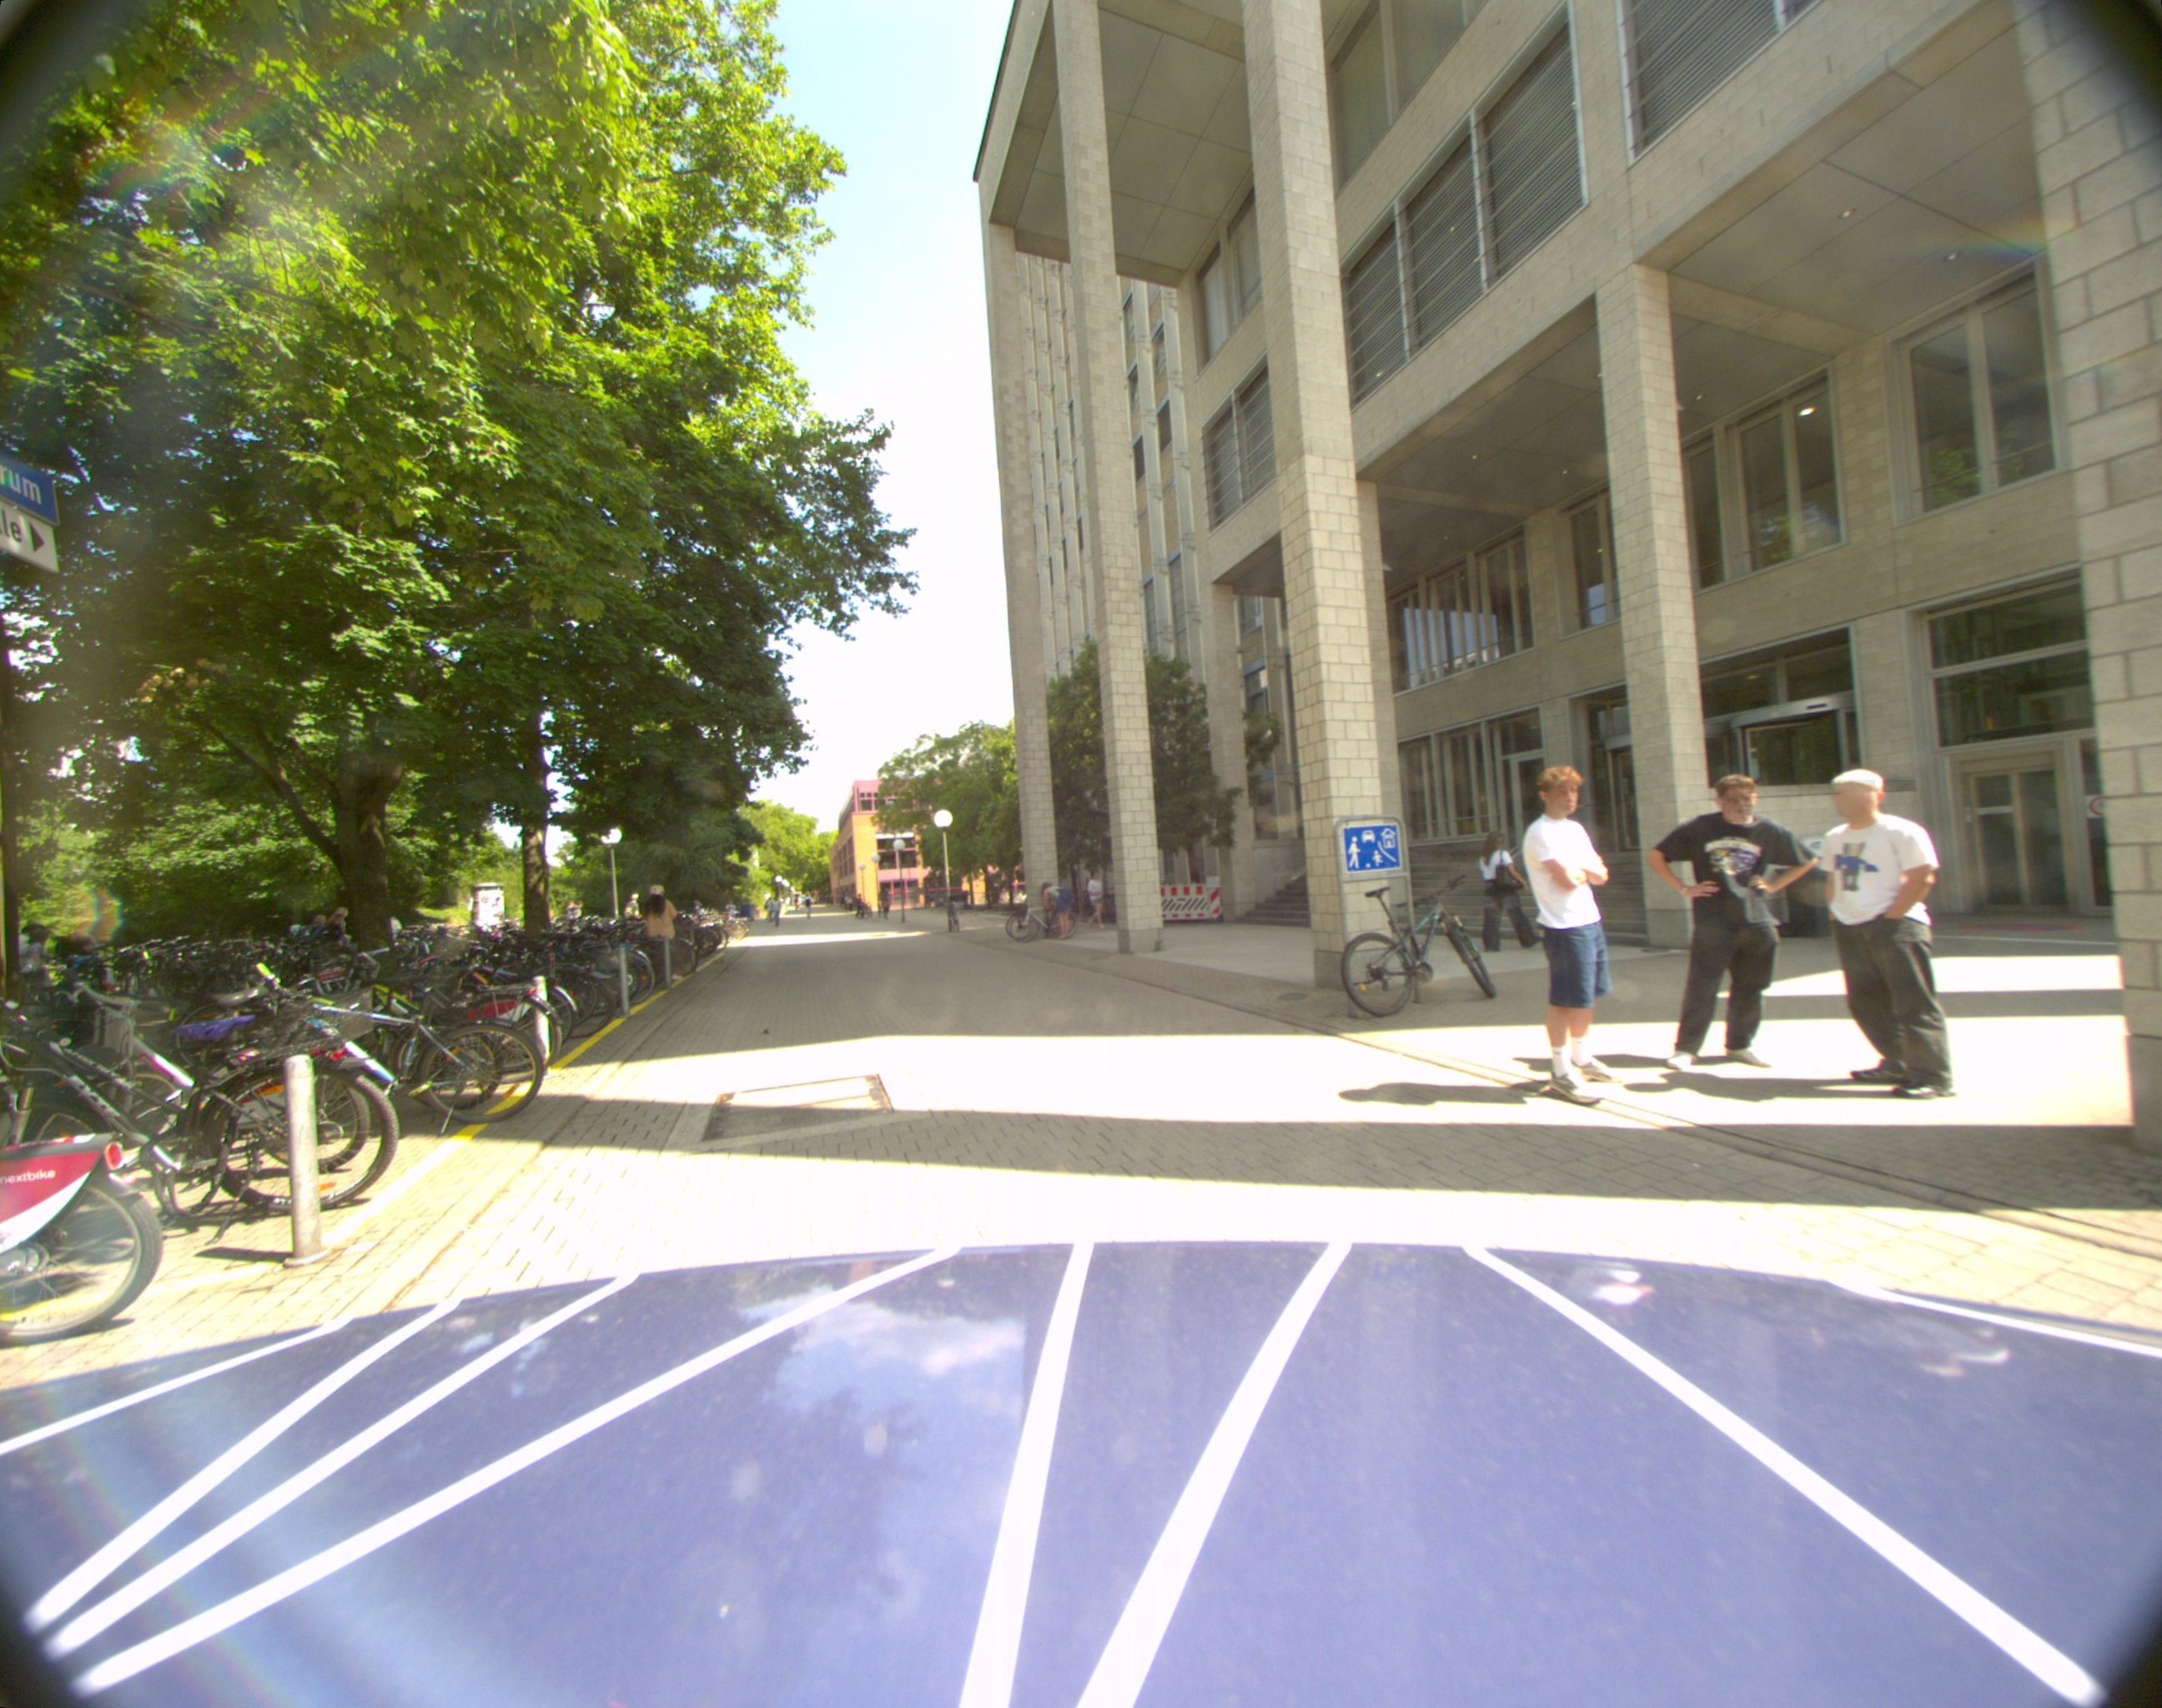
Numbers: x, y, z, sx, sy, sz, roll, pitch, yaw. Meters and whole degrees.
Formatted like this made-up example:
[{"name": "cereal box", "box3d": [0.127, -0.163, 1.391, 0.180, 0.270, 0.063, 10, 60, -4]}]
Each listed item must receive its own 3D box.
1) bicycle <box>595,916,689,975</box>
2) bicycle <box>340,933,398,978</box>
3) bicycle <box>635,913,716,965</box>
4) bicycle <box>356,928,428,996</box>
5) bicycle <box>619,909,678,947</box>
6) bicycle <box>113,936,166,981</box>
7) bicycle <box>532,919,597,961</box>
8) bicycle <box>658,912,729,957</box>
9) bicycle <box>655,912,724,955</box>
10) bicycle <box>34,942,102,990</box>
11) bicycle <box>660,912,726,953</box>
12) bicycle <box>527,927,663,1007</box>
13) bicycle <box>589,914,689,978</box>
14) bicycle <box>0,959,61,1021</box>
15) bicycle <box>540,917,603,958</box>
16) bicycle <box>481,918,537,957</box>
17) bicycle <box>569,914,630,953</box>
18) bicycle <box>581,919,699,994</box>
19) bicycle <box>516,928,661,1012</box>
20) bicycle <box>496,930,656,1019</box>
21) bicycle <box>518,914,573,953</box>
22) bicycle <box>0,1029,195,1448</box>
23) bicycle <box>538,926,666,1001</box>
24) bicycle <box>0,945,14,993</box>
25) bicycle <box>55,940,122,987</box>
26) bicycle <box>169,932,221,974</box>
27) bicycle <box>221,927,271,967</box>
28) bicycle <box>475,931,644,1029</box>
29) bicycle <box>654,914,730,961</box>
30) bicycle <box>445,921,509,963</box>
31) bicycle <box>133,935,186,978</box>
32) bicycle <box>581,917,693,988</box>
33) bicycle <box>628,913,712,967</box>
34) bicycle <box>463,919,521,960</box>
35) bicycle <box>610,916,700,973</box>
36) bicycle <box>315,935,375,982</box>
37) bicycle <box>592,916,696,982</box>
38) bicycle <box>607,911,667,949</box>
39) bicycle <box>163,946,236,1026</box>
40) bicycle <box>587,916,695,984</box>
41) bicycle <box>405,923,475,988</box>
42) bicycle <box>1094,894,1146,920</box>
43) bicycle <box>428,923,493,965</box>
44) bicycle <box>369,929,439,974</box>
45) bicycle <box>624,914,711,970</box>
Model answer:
[{"name": "bicycle", "box3d": [-9.417, 1.949, 16.368, 1.690, 1.122, 0.454, -2, -4, -25]}, {"name": "bicycle", "box3d": [-18.475, 2.640, 19.710, 1.685, 1.076, 0.480, -6, -4, 24]}, {"name": "bicycle", "box3d": [-9.886, 2.052, 18.576, 1.690, 1.122, 0.478, -2, -4, -25]}, {"name": "bicycle", "box3d": [-12.727, 1.970, 14.020, 1.841, 1.163, 0.414, -4, -1, 31]}, {"name": "bicycle", "box3d": [-13.789, 2.361, 24.228, 1.686, 1.076, 0.479, -5, -3, 11]}, {"name": "bicycle", "box3d": [-24.592, 2.735, 19.848, 1.608, 1.087, 0.348, -4, 0, 21]}, {"name": "bicycle", "box3d": [-14.819, 2.451, 21.797, 1.686, 1.076, 0.479, -5, -3, 11]}, {"name": "bicycle", "box3d": [-10.694, 2.210, 20.991, 1.691, 1.076, 0.478, -1, -4, -34]}, {"name": "bicycle", "box3d": [-11.158, 2.260, 21.681, 1.690, 1.076, 0.478, -2, -4, -25]}, {"name": "bicycle", "box3d": [-25.110, 2.776, 18.829, 1.608, 1.087, 0.348, -4, 0, 13]}, {"name": "bicycle", "box3d": [-11.514, 2.314, 22.569, 1.690, 1.076, 0.478, -2, -4, -25]}, {"name": "bicycle", "box3d": [-7.500, 1.719, 11.814, 1.690, 1.040, 0.617, -2, -4, -25]}, {"name": "bicycle", "box3d": [-8.908, 1.844, 15.371, 1.690, 1.122, 0.454, -2, -4, -25]}, {"name": "bicycle", "box3d": [-18.619, 2.354, 13.231, 1.900, 0.973, 0.479, -4, 0, 21]}, {"name": "bicycle", "box3d": [-14.965, 2.446, 22.323, 1.686, 1.076, 0.479, -5, -3, 11]}, {"name": "bicycle", "box3d": [-17.319, 2.523, 23.004, 1.685, 1.076, 0.479, -5, -4, 18]}, {"name": "bicycle", "box3d": [-14.644, 2.417, 23.109, 1.686, 1.076, 0.479, -5, -3, 11]}, {"name": "bicycle", "box3d": [-7.537, 1.736, 13.060, 1.690, 1.122, 0.454, -2, -4, -25]}, {"name": "bicycle", "box3d": [-7.181, 1.669, 11.169, 1.690, 1.040, 0.617, -2, -4, -25]}, {"name": "bicycle", "box3d": [-6.919, 1.633, 10.481, 1.697, 1.040, 0.617, -3, -3, -12]}, {"name": "bicycle", "box3d": [-16.708, 2.485, 23.710, 1.685, 1.076, 0.479, -5, -4, 18]}, {"name": "bicycle", "box3d": [-3.940, 1.260, 2.292, 1.491, 1.135, 0.560, -4, 1, -23]}, {"name": "bicycle", "box3d": [-7.737, 1.752, 12.344, 1.690, 1.040, 0.500, -2, -4, -25]}, {"name": "bicycle", "box3d": [-25.883, 2.733, 18.138, 1.607, 1.087, 0.348, -4, 0, 32]}, {"name": "bicycle", "box3d": [-25.040, 2.766, 19.174, 1.608, 1.087, 0.348, -4, 0, 13]}, {"name": "bicycle", "box3d": [-24.153, 2.700, 20.716, 1.608, 1.087, 0.348, -4, 0, 21]}, {"name": "bicycle", "box3d": [-23.971, 2.670, 21.803, 1.608, 1.087, 0.348, -4, 0, 21]}, {"name": "bicycle", "box3d": [-6.610, 1.567, 9.733, 1.698, 1.040, 0.567, -2, -4, -28]}, {"name": "bicycle", "box3d": [-10.047, 2.149, 19.664, 1.690, 1.076, 0.478, -2, -4, -25]}, {"name": "bicycle", "box3d": [-17.524, 2.547, 22.059, 1.685, 1.076, 0.479, -5, -3, 12]}, {"name": "bicycle", "box3d": [-24.469, 2.723, 20.173, 1.608, 1.087, 0.348, -4, 0, 21]}, {"name": "bicycle", "box3d": [-8.019, 1.765, 13.783, 1.690, 1.122, 0.454, -2, -4, -25]}, {"name": "bicycle", "box3d": [-9.701, 2.021, 18.010, 1.690, 1.122, 0.478, -2, -4, -25]}, {"name": "bicycle", "box3d": [-17.471, 2.539, 22.533, 1.685, 1.076, 0.479, -5, -4, 18]}, {"name": "bicycle", "box3d": [-9.442, 1.993, 16.908, 1.690, 1.122, 0.454, -2, -4, -25]}, {"name": "bicycle", "box3d": [-18.678, 2.657, 19.273, 1.685, 1.076, 0.480, -6, -4, 24]}, {"name": "bicycle", "box3d": [-8.535, 1.839, 14.904, 1.690, 1.122, 0.454, -2, -4, -25]}, {"name": "bicycle", "box3d": [-13.879, 2.374, 23.759, 1.686, 1.076, 0.479, -5, -3, 11]}, {"name": "bicycle", "box3d": [-14.062, 2.066, 12.112, 1.841, 1.163, 0.414, -4, -1, 31]}, {"name": "bicycle", "box3d": [-8.289, 1.787, 14.374, 1.690, 1.122, 0.454, -2, -4, -25]}, {"name": "bicycle", "box3d": [-12.362, 1.941, 14.642, 1.841, 1.163, 0.414, -4, -1, 31]}, {"name": "bicycle", "box3d": [1.213, 1.668, 24.269, 0.645, 0.755, 1.986, -2, -1, -30]}, {"name": "bicycle", "box3d": [-17.625, 2.561, 21.582, 1.685, 1.076, 0.479, -5, -3, 12]}, {"name": "bicycle", "box3d": [-18.148, 2.606, 20.372, 1.685, 1.076, 0.479, -5, -3, 12]}, {"name": "bicycle", "box3d": [-9.474, 2.002, 17.470, 1.690, 1.122, 0.478, -2, -4, -25]}]
